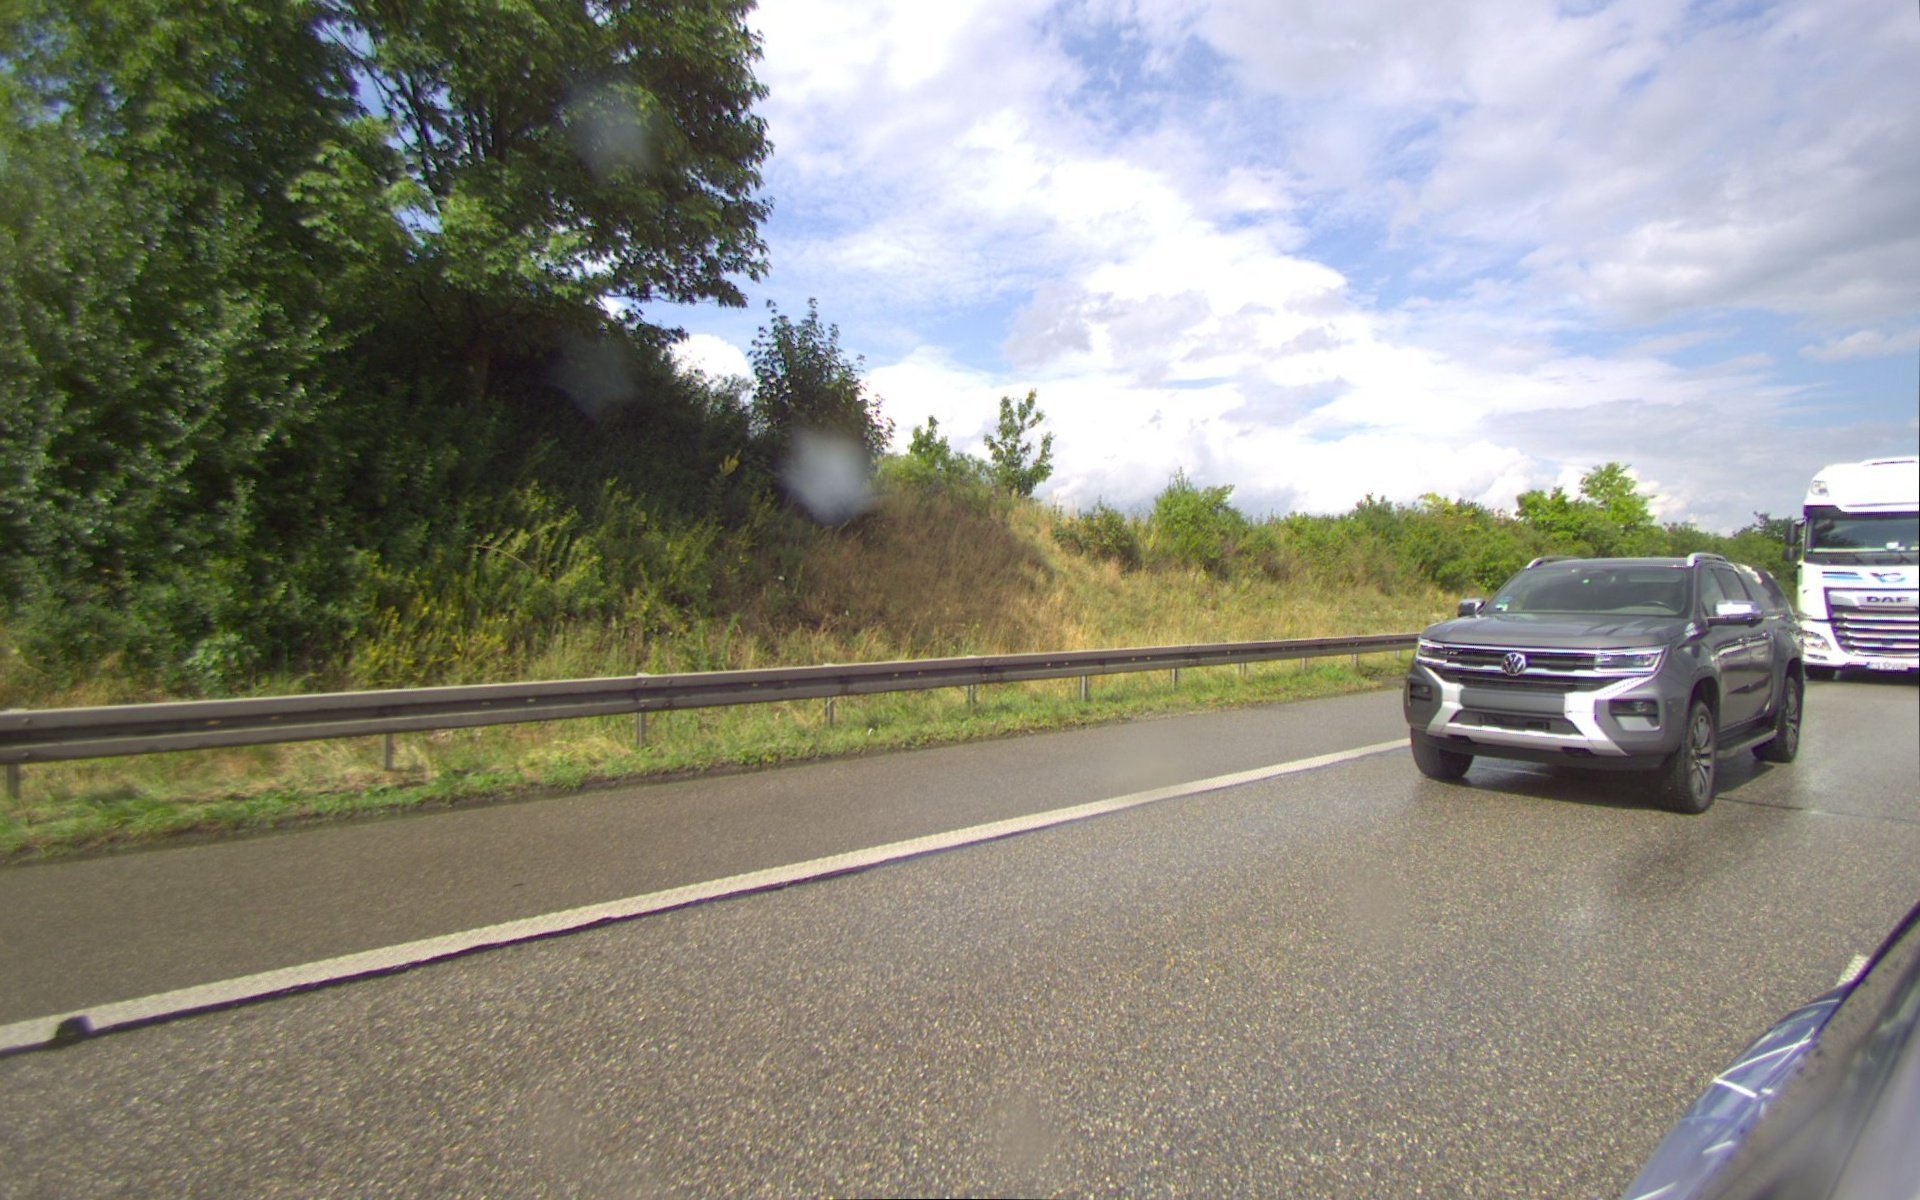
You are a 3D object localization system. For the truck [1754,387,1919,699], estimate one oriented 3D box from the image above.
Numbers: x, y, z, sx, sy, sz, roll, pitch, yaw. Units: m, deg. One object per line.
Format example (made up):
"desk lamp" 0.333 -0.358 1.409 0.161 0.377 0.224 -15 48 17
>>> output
"truck" 14.444 -0.767 15.645 5.239 4.156 2.458 0 0 -41

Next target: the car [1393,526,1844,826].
"car" 5.799 0.432 8.567 5.212 1.826 1.830 0 1 -41

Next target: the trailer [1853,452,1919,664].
"trailer" 23.563 -0.882 23.656 12.003 4.171 2.449 -1 0 -41
